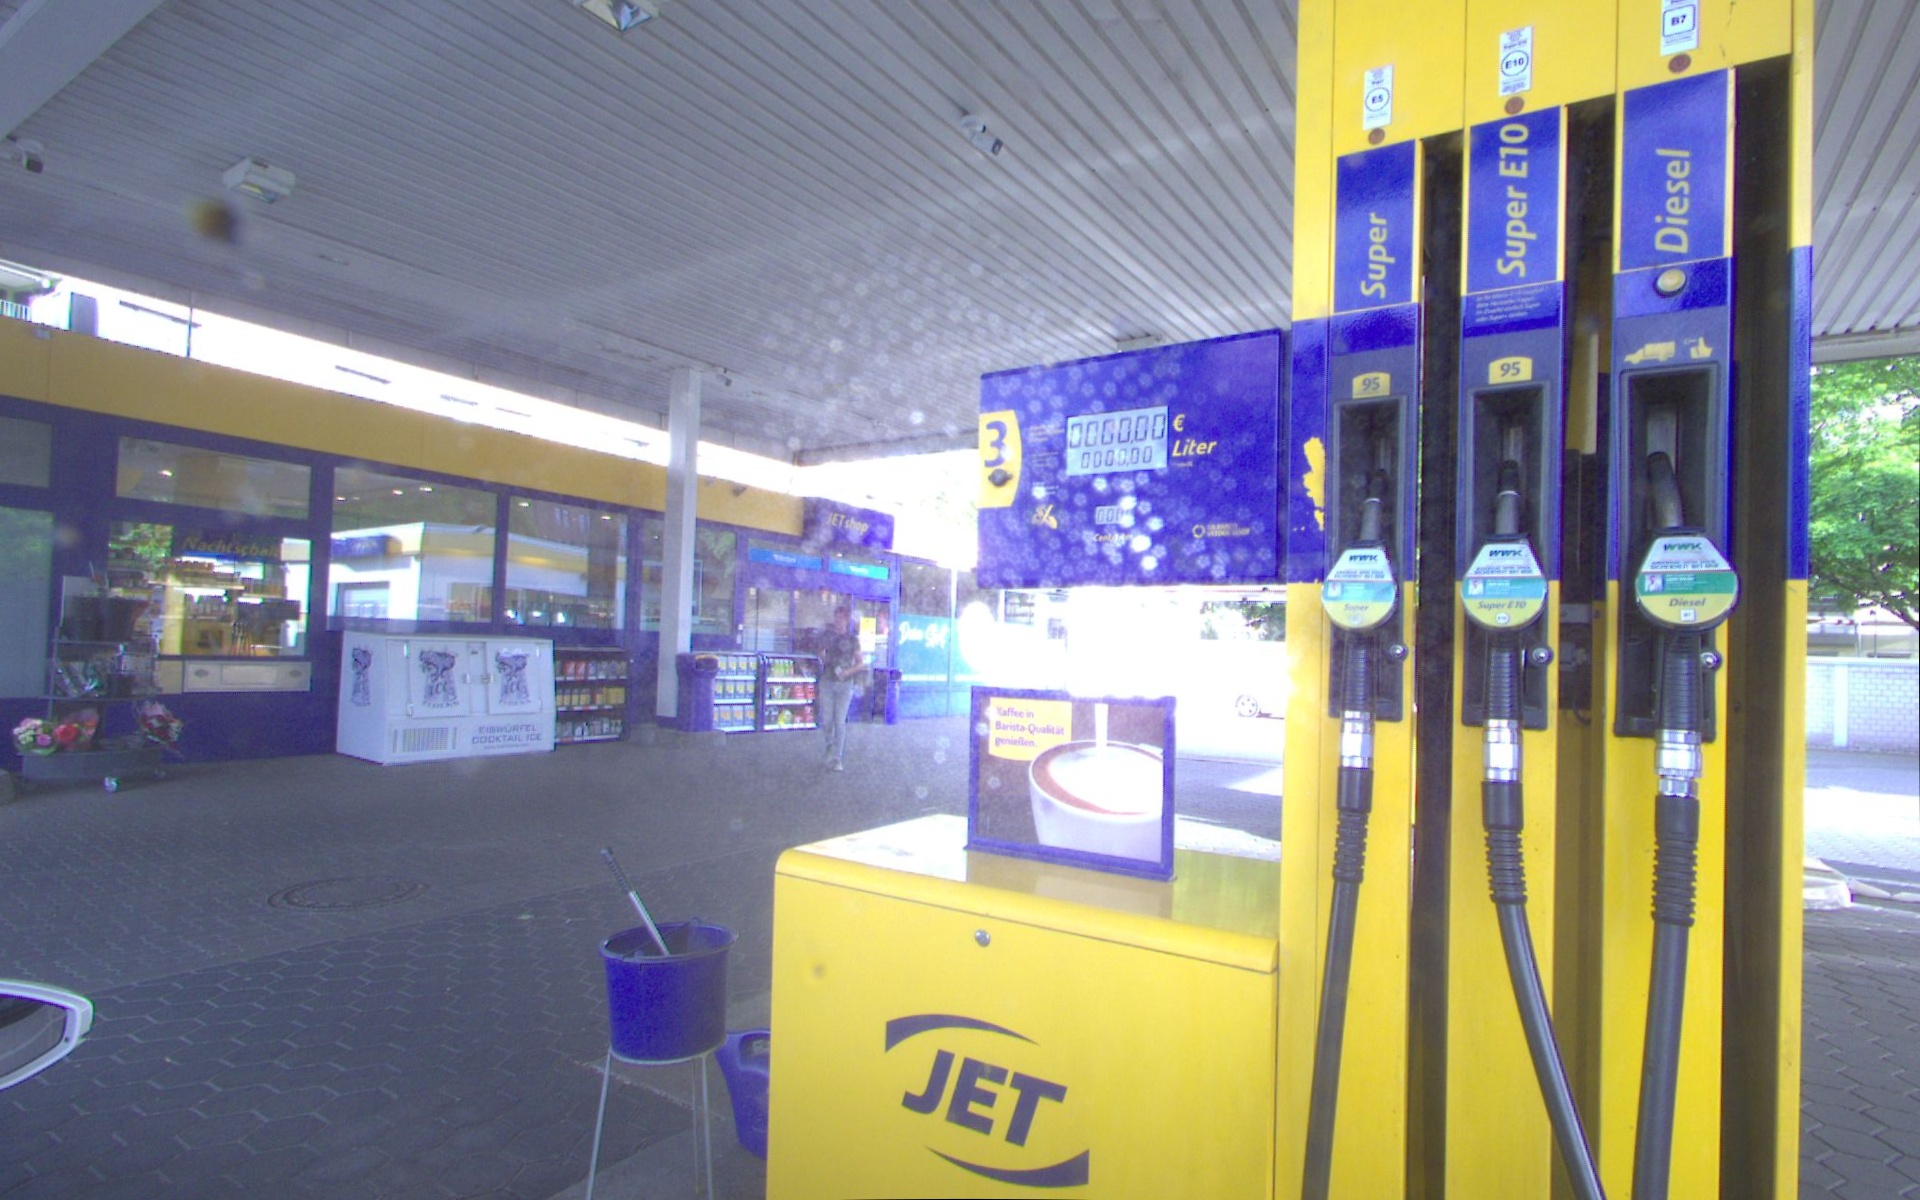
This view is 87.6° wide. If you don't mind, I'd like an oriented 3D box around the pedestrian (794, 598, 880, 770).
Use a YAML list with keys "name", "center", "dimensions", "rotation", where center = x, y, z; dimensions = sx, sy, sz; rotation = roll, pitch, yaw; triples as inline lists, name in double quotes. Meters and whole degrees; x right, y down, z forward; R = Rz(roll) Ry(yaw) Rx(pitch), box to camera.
- name: "pedestrian"
  center: [-1.379, 0.939, 11.415]
  dimensions: [0.788, 1.838, 0.985]
  rotation: [3, -2, -2]
